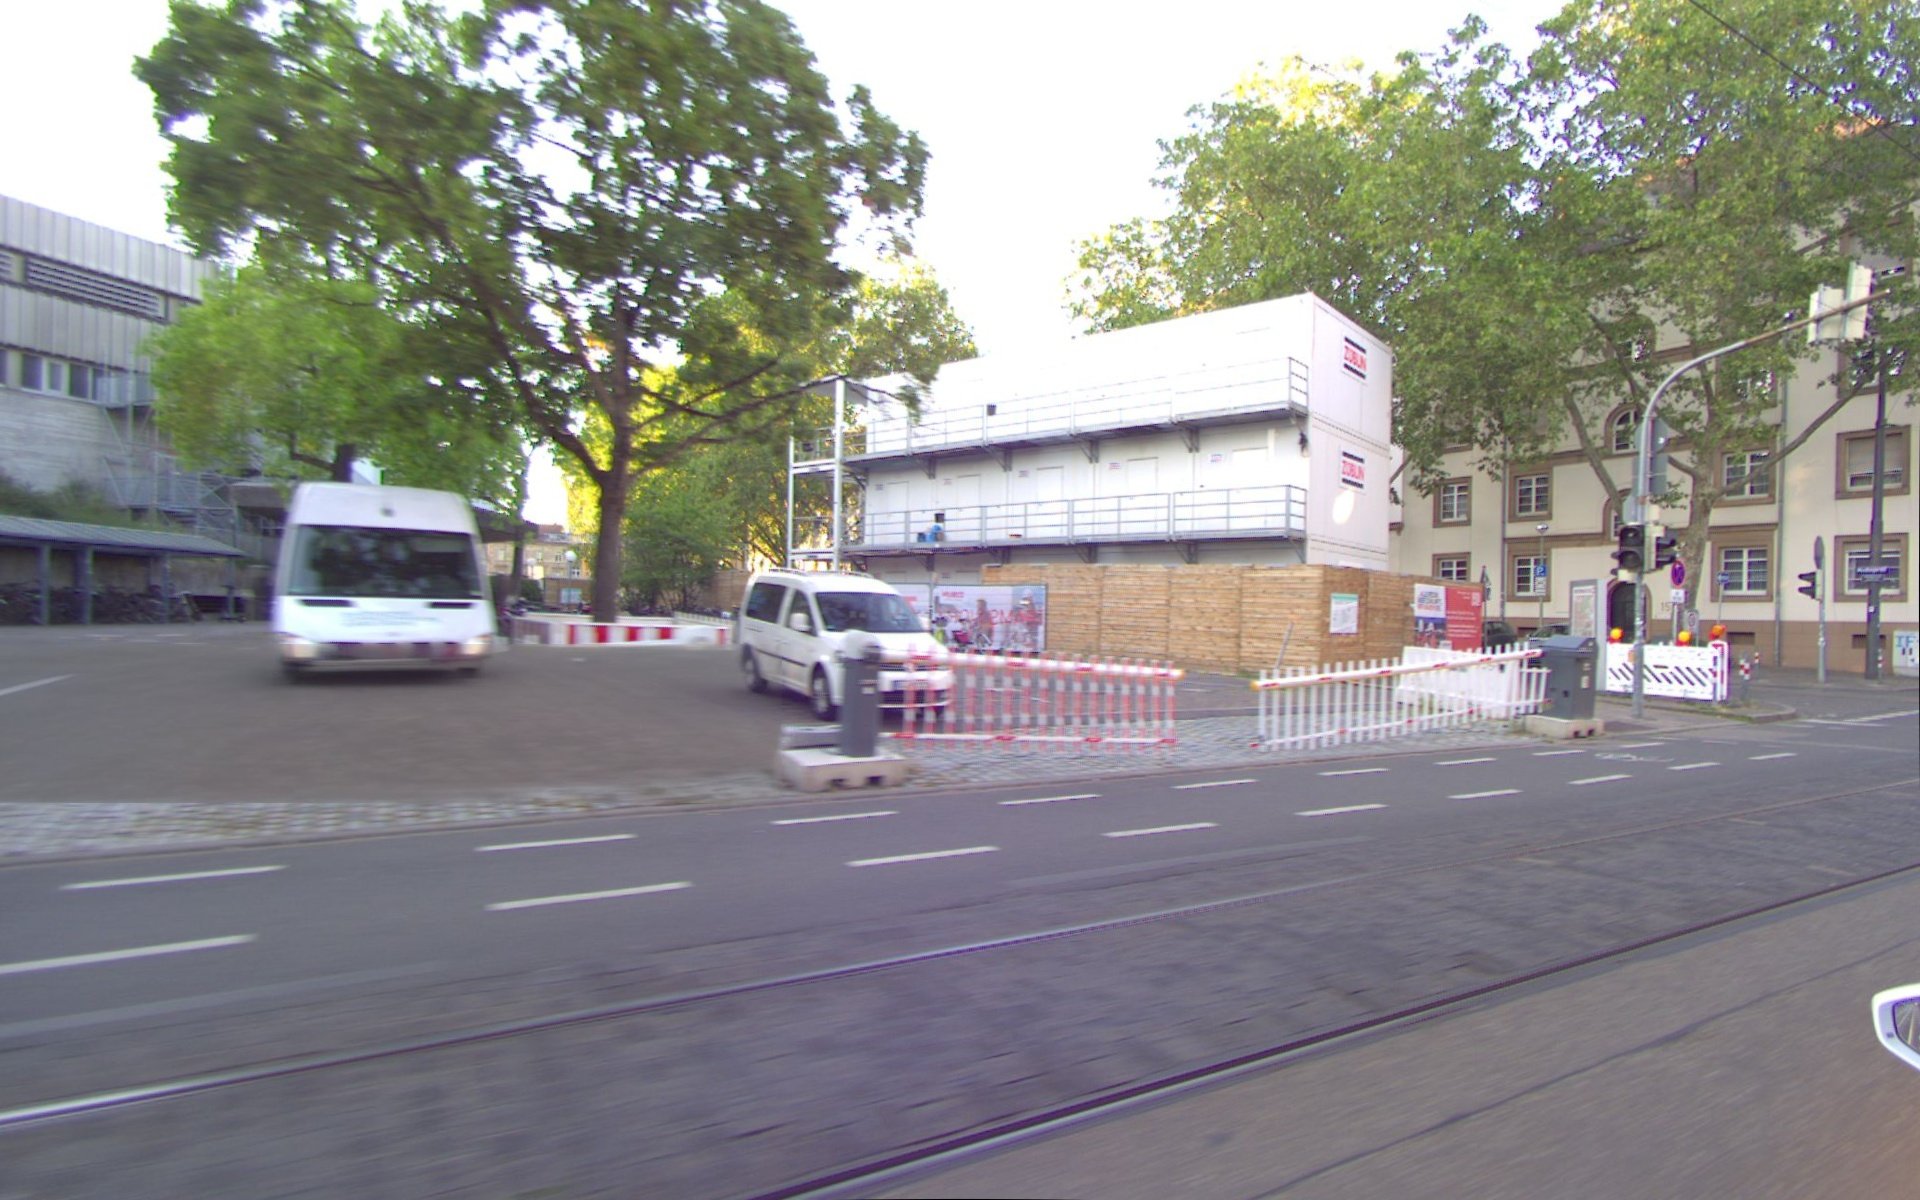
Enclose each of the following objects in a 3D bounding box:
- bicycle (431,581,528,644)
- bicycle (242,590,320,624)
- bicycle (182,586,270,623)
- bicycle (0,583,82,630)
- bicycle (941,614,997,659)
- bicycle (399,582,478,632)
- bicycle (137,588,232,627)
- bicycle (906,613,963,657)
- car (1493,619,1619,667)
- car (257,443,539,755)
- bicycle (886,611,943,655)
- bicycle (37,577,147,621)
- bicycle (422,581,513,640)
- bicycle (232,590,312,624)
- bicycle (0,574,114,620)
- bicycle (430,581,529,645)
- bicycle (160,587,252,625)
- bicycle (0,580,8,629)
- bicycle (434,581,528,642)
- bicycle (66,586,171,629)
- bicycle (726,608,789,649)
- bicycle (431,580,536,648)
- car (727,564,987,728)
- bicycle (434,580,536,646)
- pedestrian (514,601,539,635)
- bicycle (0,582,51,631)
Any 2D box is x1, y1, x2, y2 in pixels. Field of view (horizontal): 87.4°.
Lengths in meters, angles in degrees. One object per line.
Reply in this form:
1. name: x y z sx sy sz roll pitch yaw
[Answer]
1. bicycle: -10.924 0.287 22.862 1.951 1.387 0.539 1 0 -27
2. bicycle: -25.088 0.250 37.170 2.226 1.197 0.810 1 0 -14
3. bicycle: -24.695 0.155 33.821 2.226 1.197 0.810 1 0 -14
4. bicycle: -24.794 0.160 26.562 2.226 1.197 0.810 1 0 -14
5. bicycle: 0.266 0.934 26.365 0.533 1.120 1.973 1 0 30
6. bicycle: -14.899 0.196 28.744 1.951 1.387 0.539 1 0 -27
7. bicycle: -24.543 0.239 31.821 2.226 1.197 0.810 1 0 -14
8. bicycle: -0.649 0.902 26.669 0.533 1.120 1.973 1 0 30
9. car: 20.194 1.419 34.001 4.420 1.378 1.745 -1 1 -30
10. car: -6.408 -0.024 11.266 2.206 2.632 5.187 1 0 -33
11. bicycle: -1.195 0.869 27.052 0.533 1.120 1.973 1 0 30
12. bicycle: -24.695 -0.030 28.621 2.226 1.197 0.810 1 0 -14
13. bicycle: -12.029 0.263 24.569 1.951 1.387 0.539 1 0 -27
14. bicycle: -24.775 0.248 36.217 2.226 1.197 0.810 1 0 -14
15. bicycle: -24.801 -0.084 27.596 2.226 1.197 0.810 1 0 -14
16. bicycle: -10.673 0.293 22.357 1.951 1.387 0.539 1 0 -27
17. bicycle: -24.594 0.201 32.809 2.226 1.197 0.810 1 0 -14
18. bicycle: -24.567 0.102 24.205 2.226 1.197 0.810 1 0 -14
19. bicycle: -11.186 0.275 23.497 1.951 1.387 0.539 1 0 -27
20. bicycle: -24.679 0.221 29.506 2.226 1.197 0.810 1 0 -14
21. bicycle: -5.680 0.787 28.300 0.533 1.120 1.973 1 0 30
22. bicycle: -9.969 0.308 21.068 1.951 1.387 0.539 1 0 -27
23. car: -1.670 0.520 14.260 1.990 1.898 4.813 1 0 -28
24. bicycle: -10.286 0.301 21.807 1.951 1.387 0.539 1 0 -27
25. pedestrian: -14.321 0.596 33.150 0.624 1.085 0.755 1 0 -34
26. bicycle: -24.550 0.150 25.361 2.226 1.197 0.810 1 0 -14
